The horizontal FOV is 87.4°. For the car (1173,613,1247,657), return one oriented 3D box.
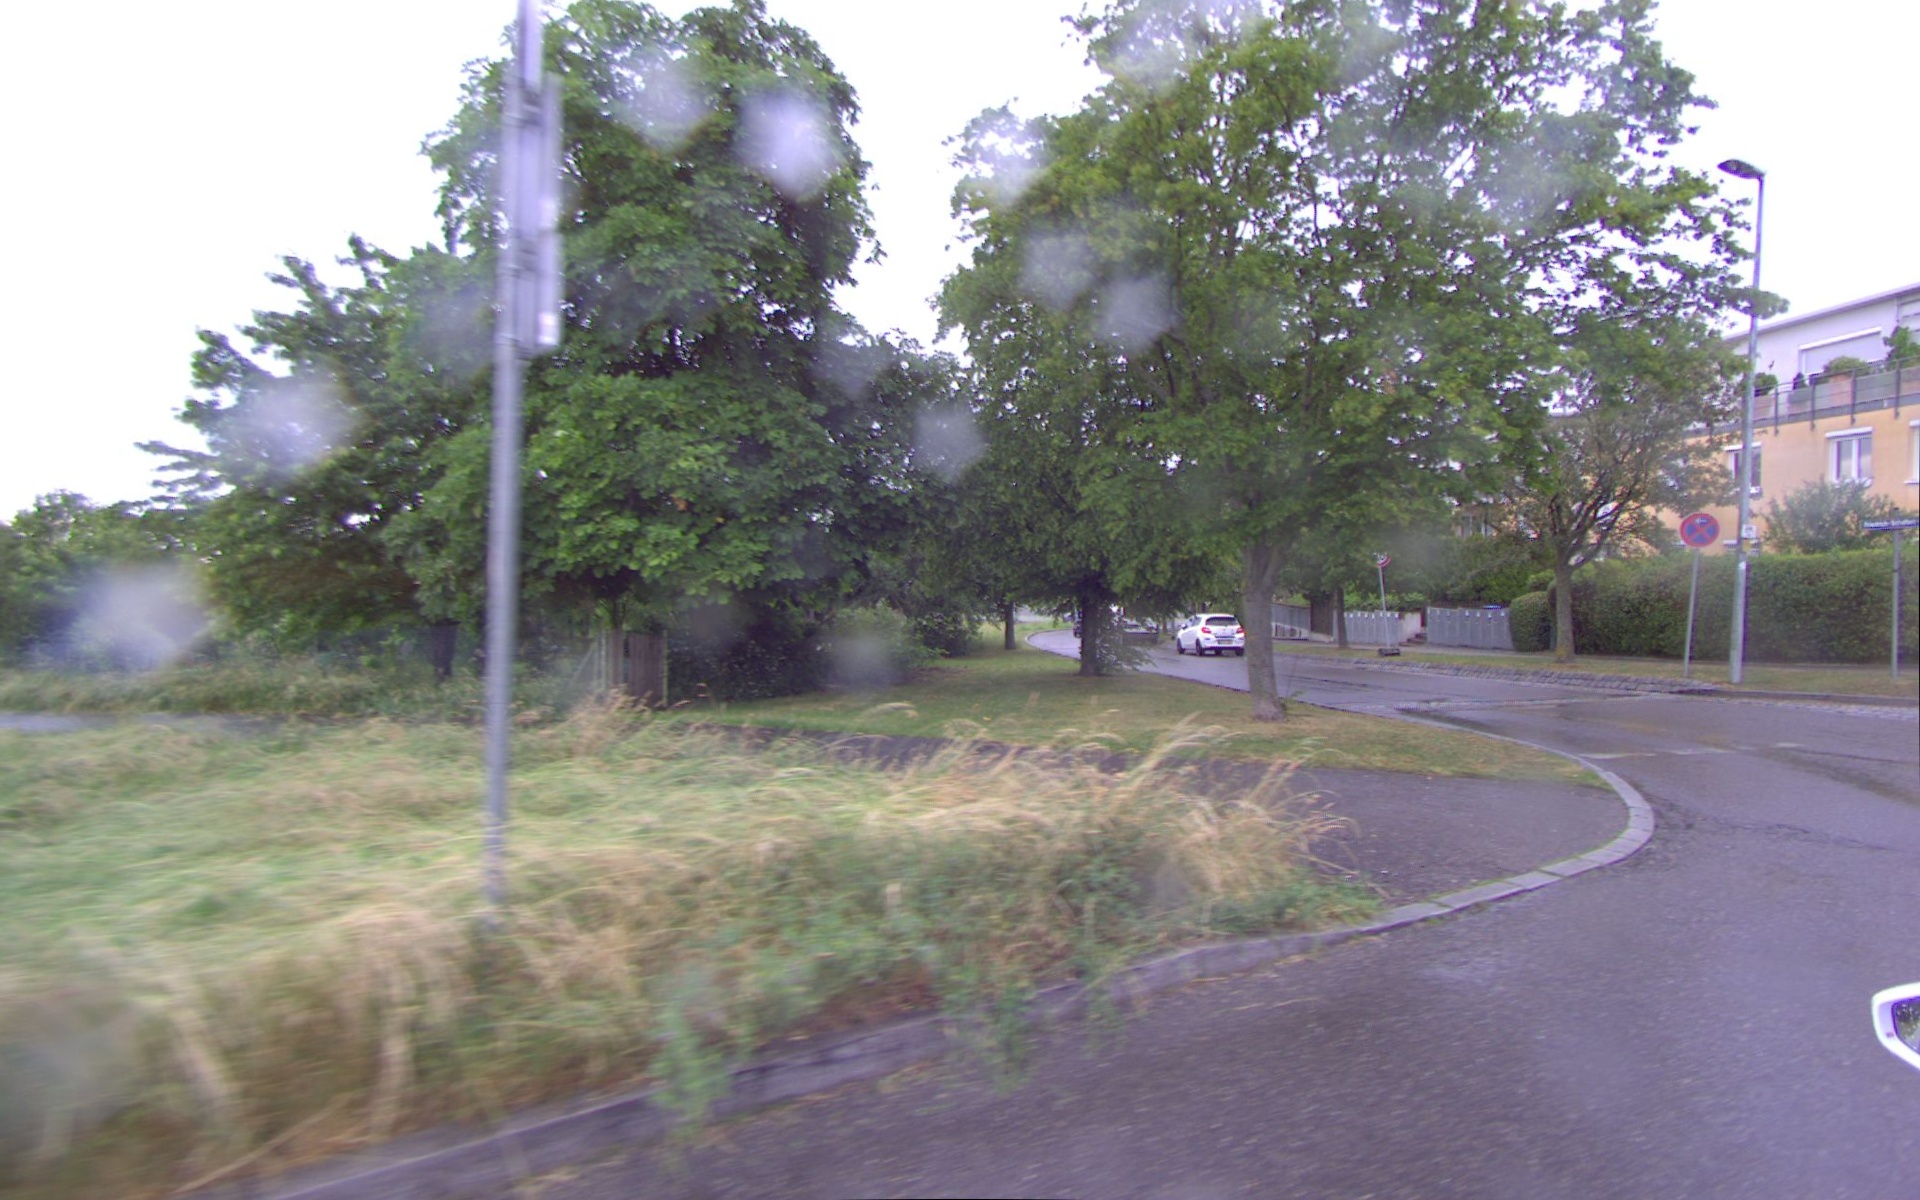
[{"bbox_3d":[9.060,1.236,36.639,1.580,1.522,3.725,0,-1,-3],"label":"car"}]

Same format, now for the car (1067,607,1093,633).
[{"bbox_3d":[8.040,1.326,67.106,1.657,1.573,3.698,0,1,9],"label":"car"}]

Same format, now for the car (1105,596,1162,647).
[{"bbox_3d":[8.906,1.098,52.067,2.082,2.500,5.511,0,-1,1],"label":"car"}]
